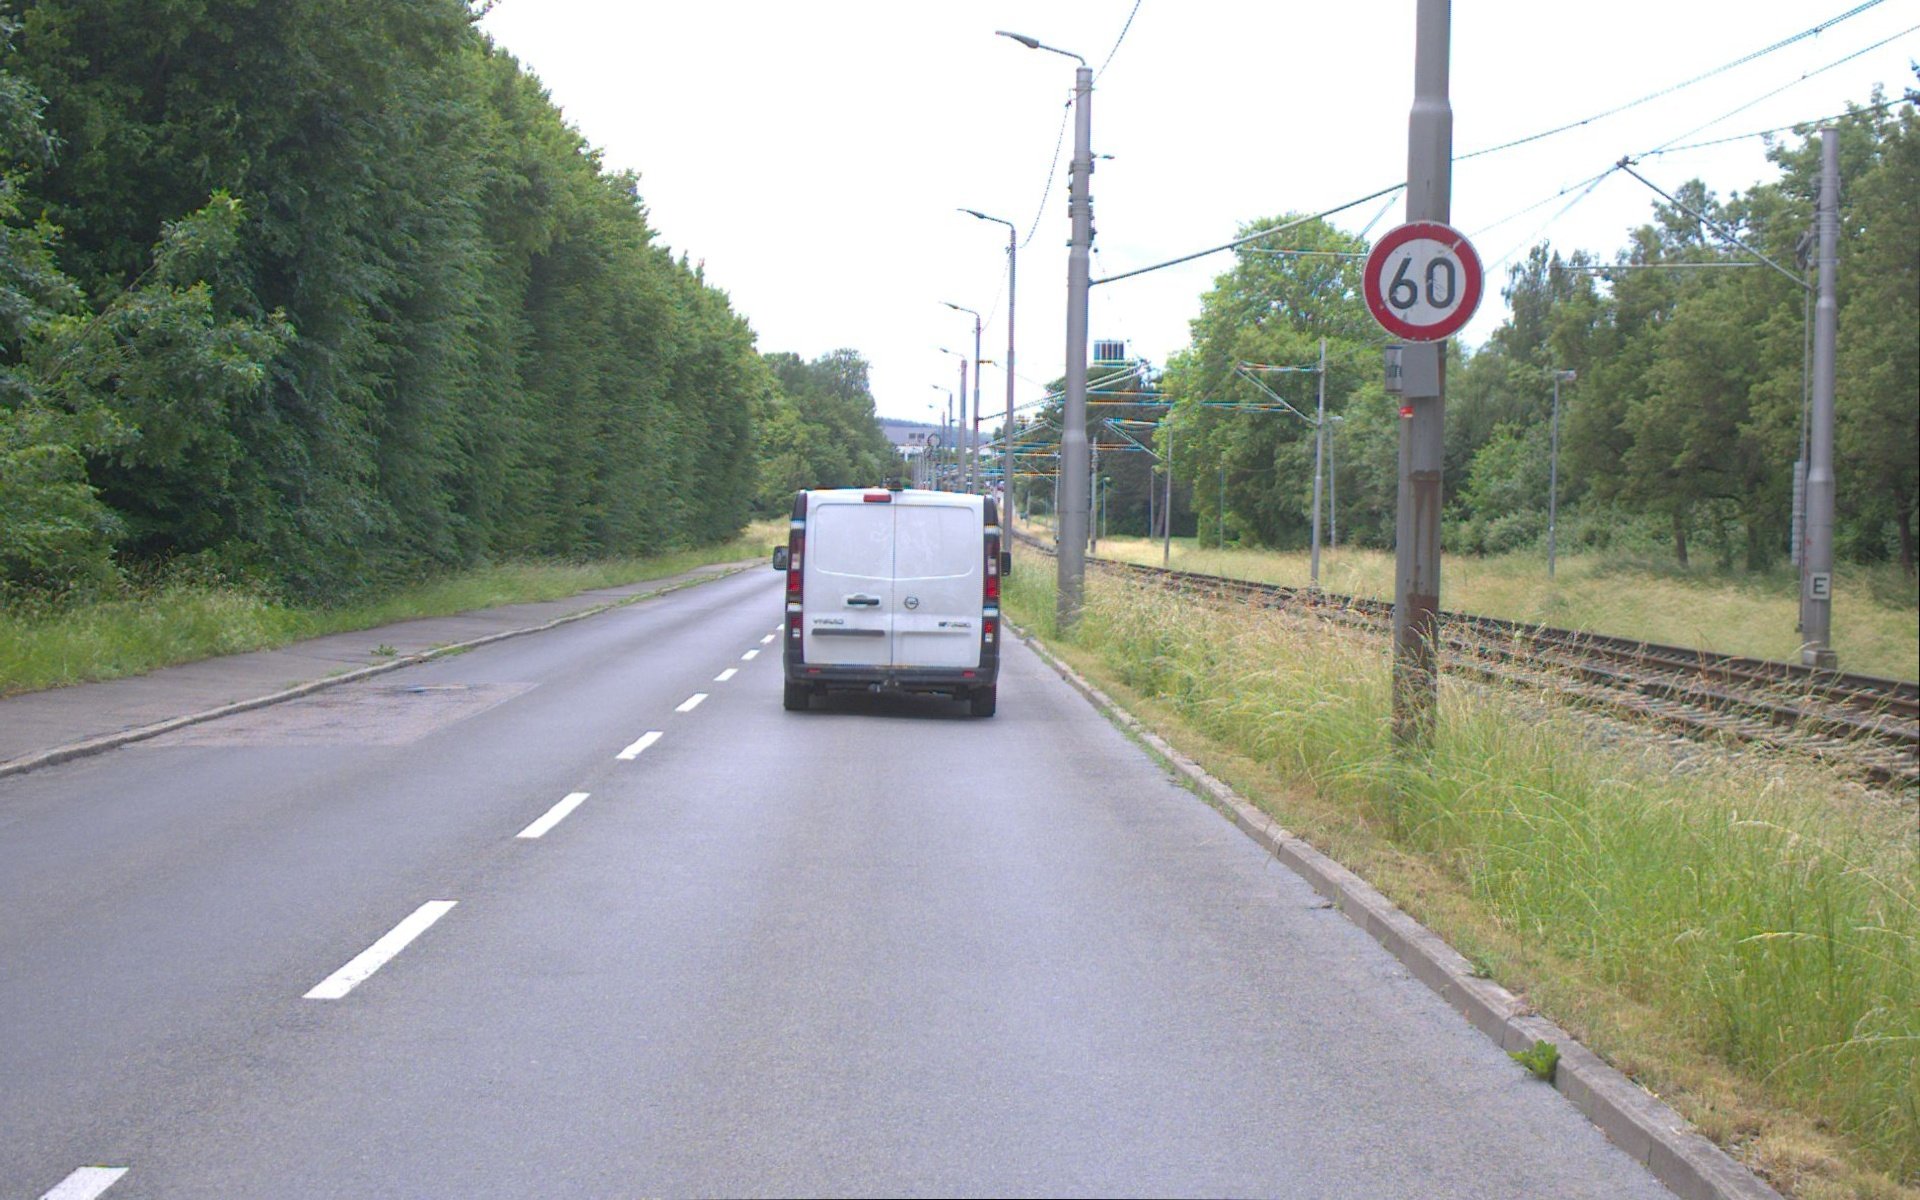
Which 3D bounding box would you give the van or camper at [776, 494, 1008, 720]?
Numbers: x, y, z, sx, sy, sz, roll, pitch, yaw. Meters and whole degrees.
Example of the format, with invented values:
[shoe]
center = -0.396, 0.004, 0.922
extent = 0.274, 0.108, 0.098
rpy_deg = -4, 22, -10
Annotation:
[van or camper]
center = -0.554, 0.027, 30.975
extent = 1.942, 1.890, 4.285
rpy_deg = 0, 1, 1
